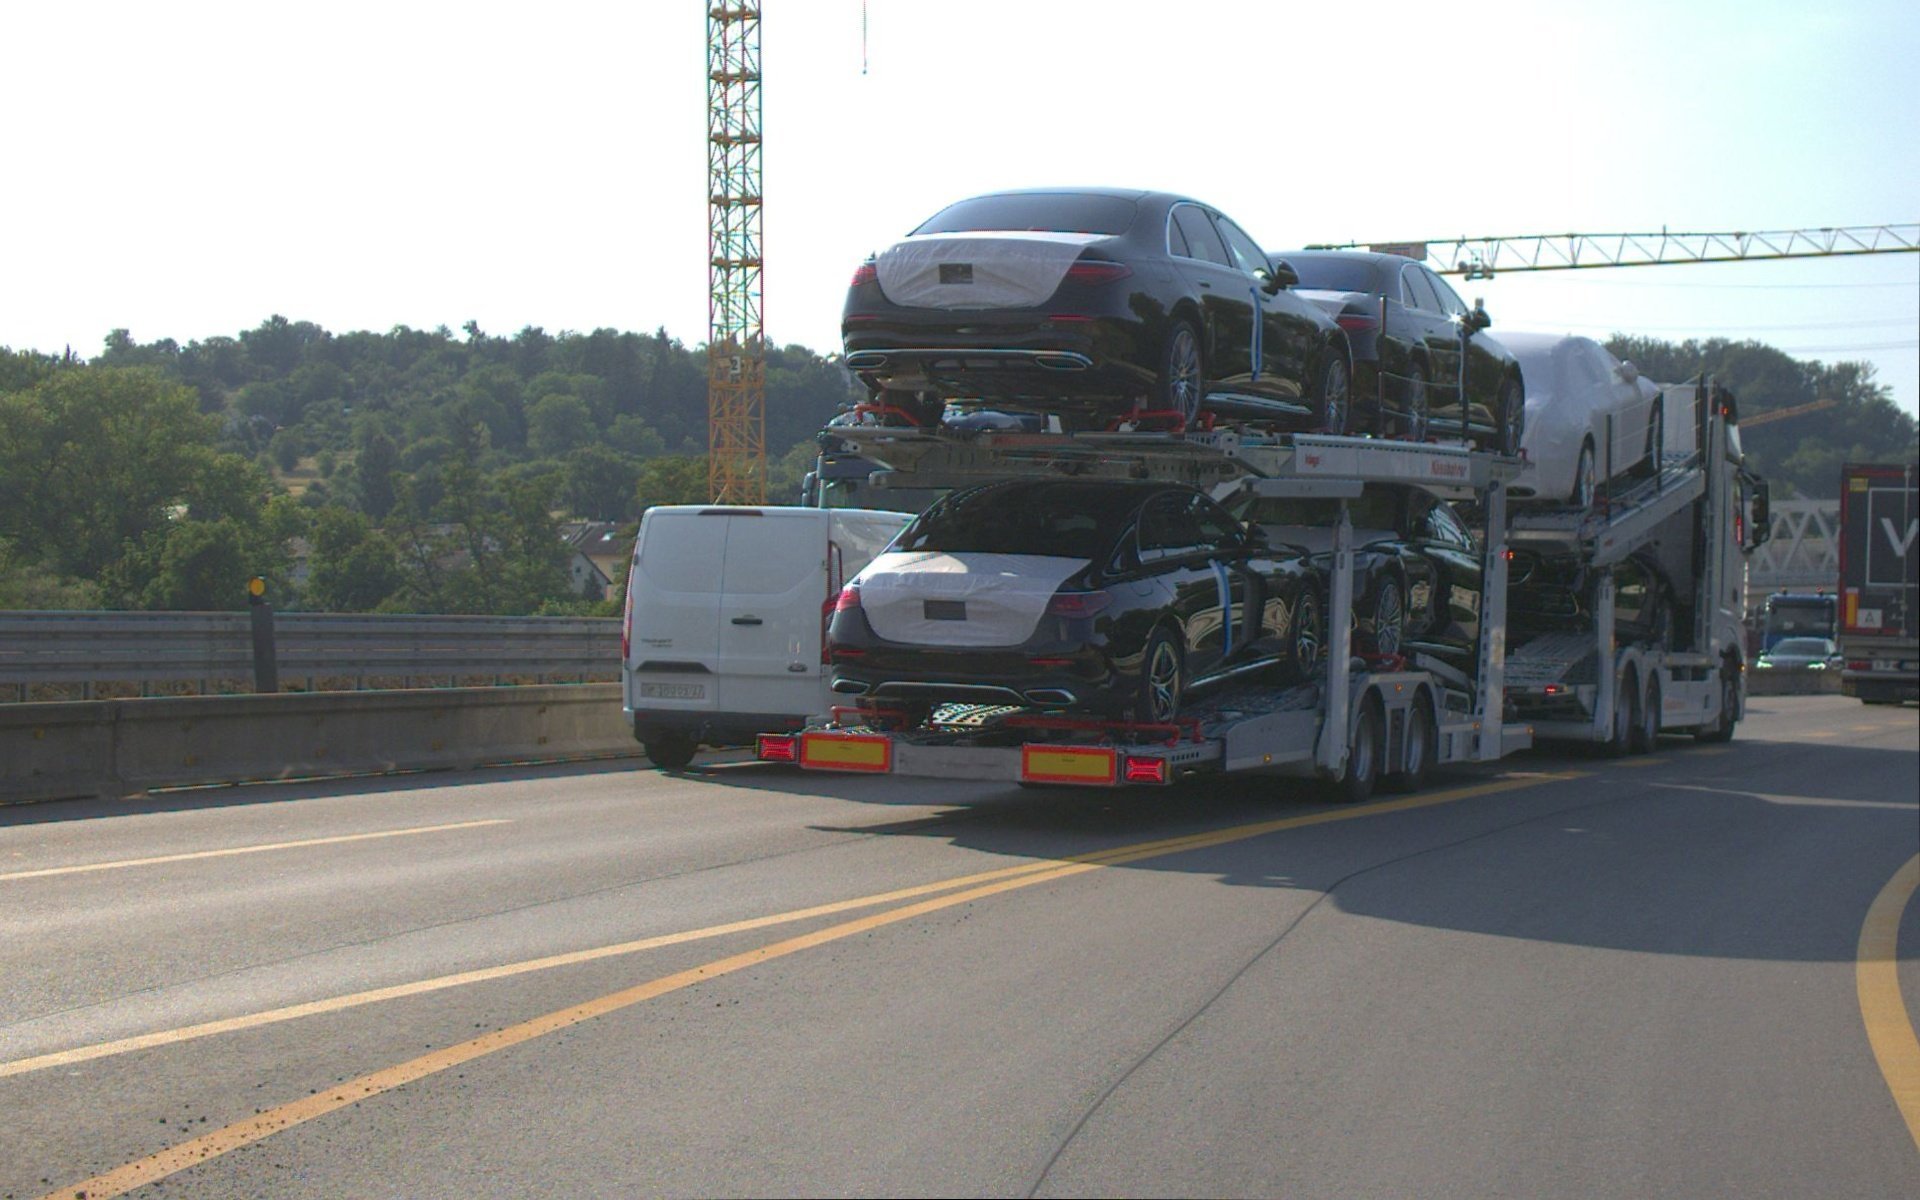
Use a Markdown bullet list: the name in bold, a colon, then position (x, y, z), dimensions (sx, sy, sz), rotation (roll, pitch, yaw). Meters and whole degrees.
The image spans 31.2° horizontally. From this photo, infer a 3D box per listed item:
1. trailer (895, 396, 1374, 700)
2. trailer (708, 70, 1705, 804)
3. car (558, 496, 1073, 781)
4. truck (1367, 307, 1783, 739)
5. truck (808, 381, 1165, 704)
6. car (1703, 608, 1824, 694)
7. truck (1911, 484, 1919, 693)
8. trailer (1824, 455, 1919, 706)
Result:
- **trailer**: position (3.101, -0.598, 52.951), dimensions (2.630, 4.053, 14.062), rotation (-1, -1, 23)
- **trailer**: position (2.878, -0.798, 26.472), dimensions (2.860, 3.983, 15.727), rotation (0, -1, 22)
- **car**: position (-0.999, 0.271, 27.100), dimensions (2.031, 1.974, 4.973), rotation (2, 1, 23)
- **truck**: position (6.476, -0.677, 35.351), dimensions (2.852, 3.983, 6.616), rotation (0, -1, 22)
- **truck**: position (0.480, -0.679, 46.627), dimensions (2.630, 4.053, 6.122), rotation (-1, -1, 23)
- **car**: position (16.080, 1.016, 68.701), dimensions (1.832, 1.649, 3.996), rotation (-1, -1, 20)
- **truck**: position (20.752, -0.177, 67.886), dimensions (2.888, 3.983, 6.616), rotation (0, -1, 24)
- **trailer**: position (17.748, -0.249, 60.942), dimensions (2.962, 4.078, 10.779), rotation (-1, -1, 24)
